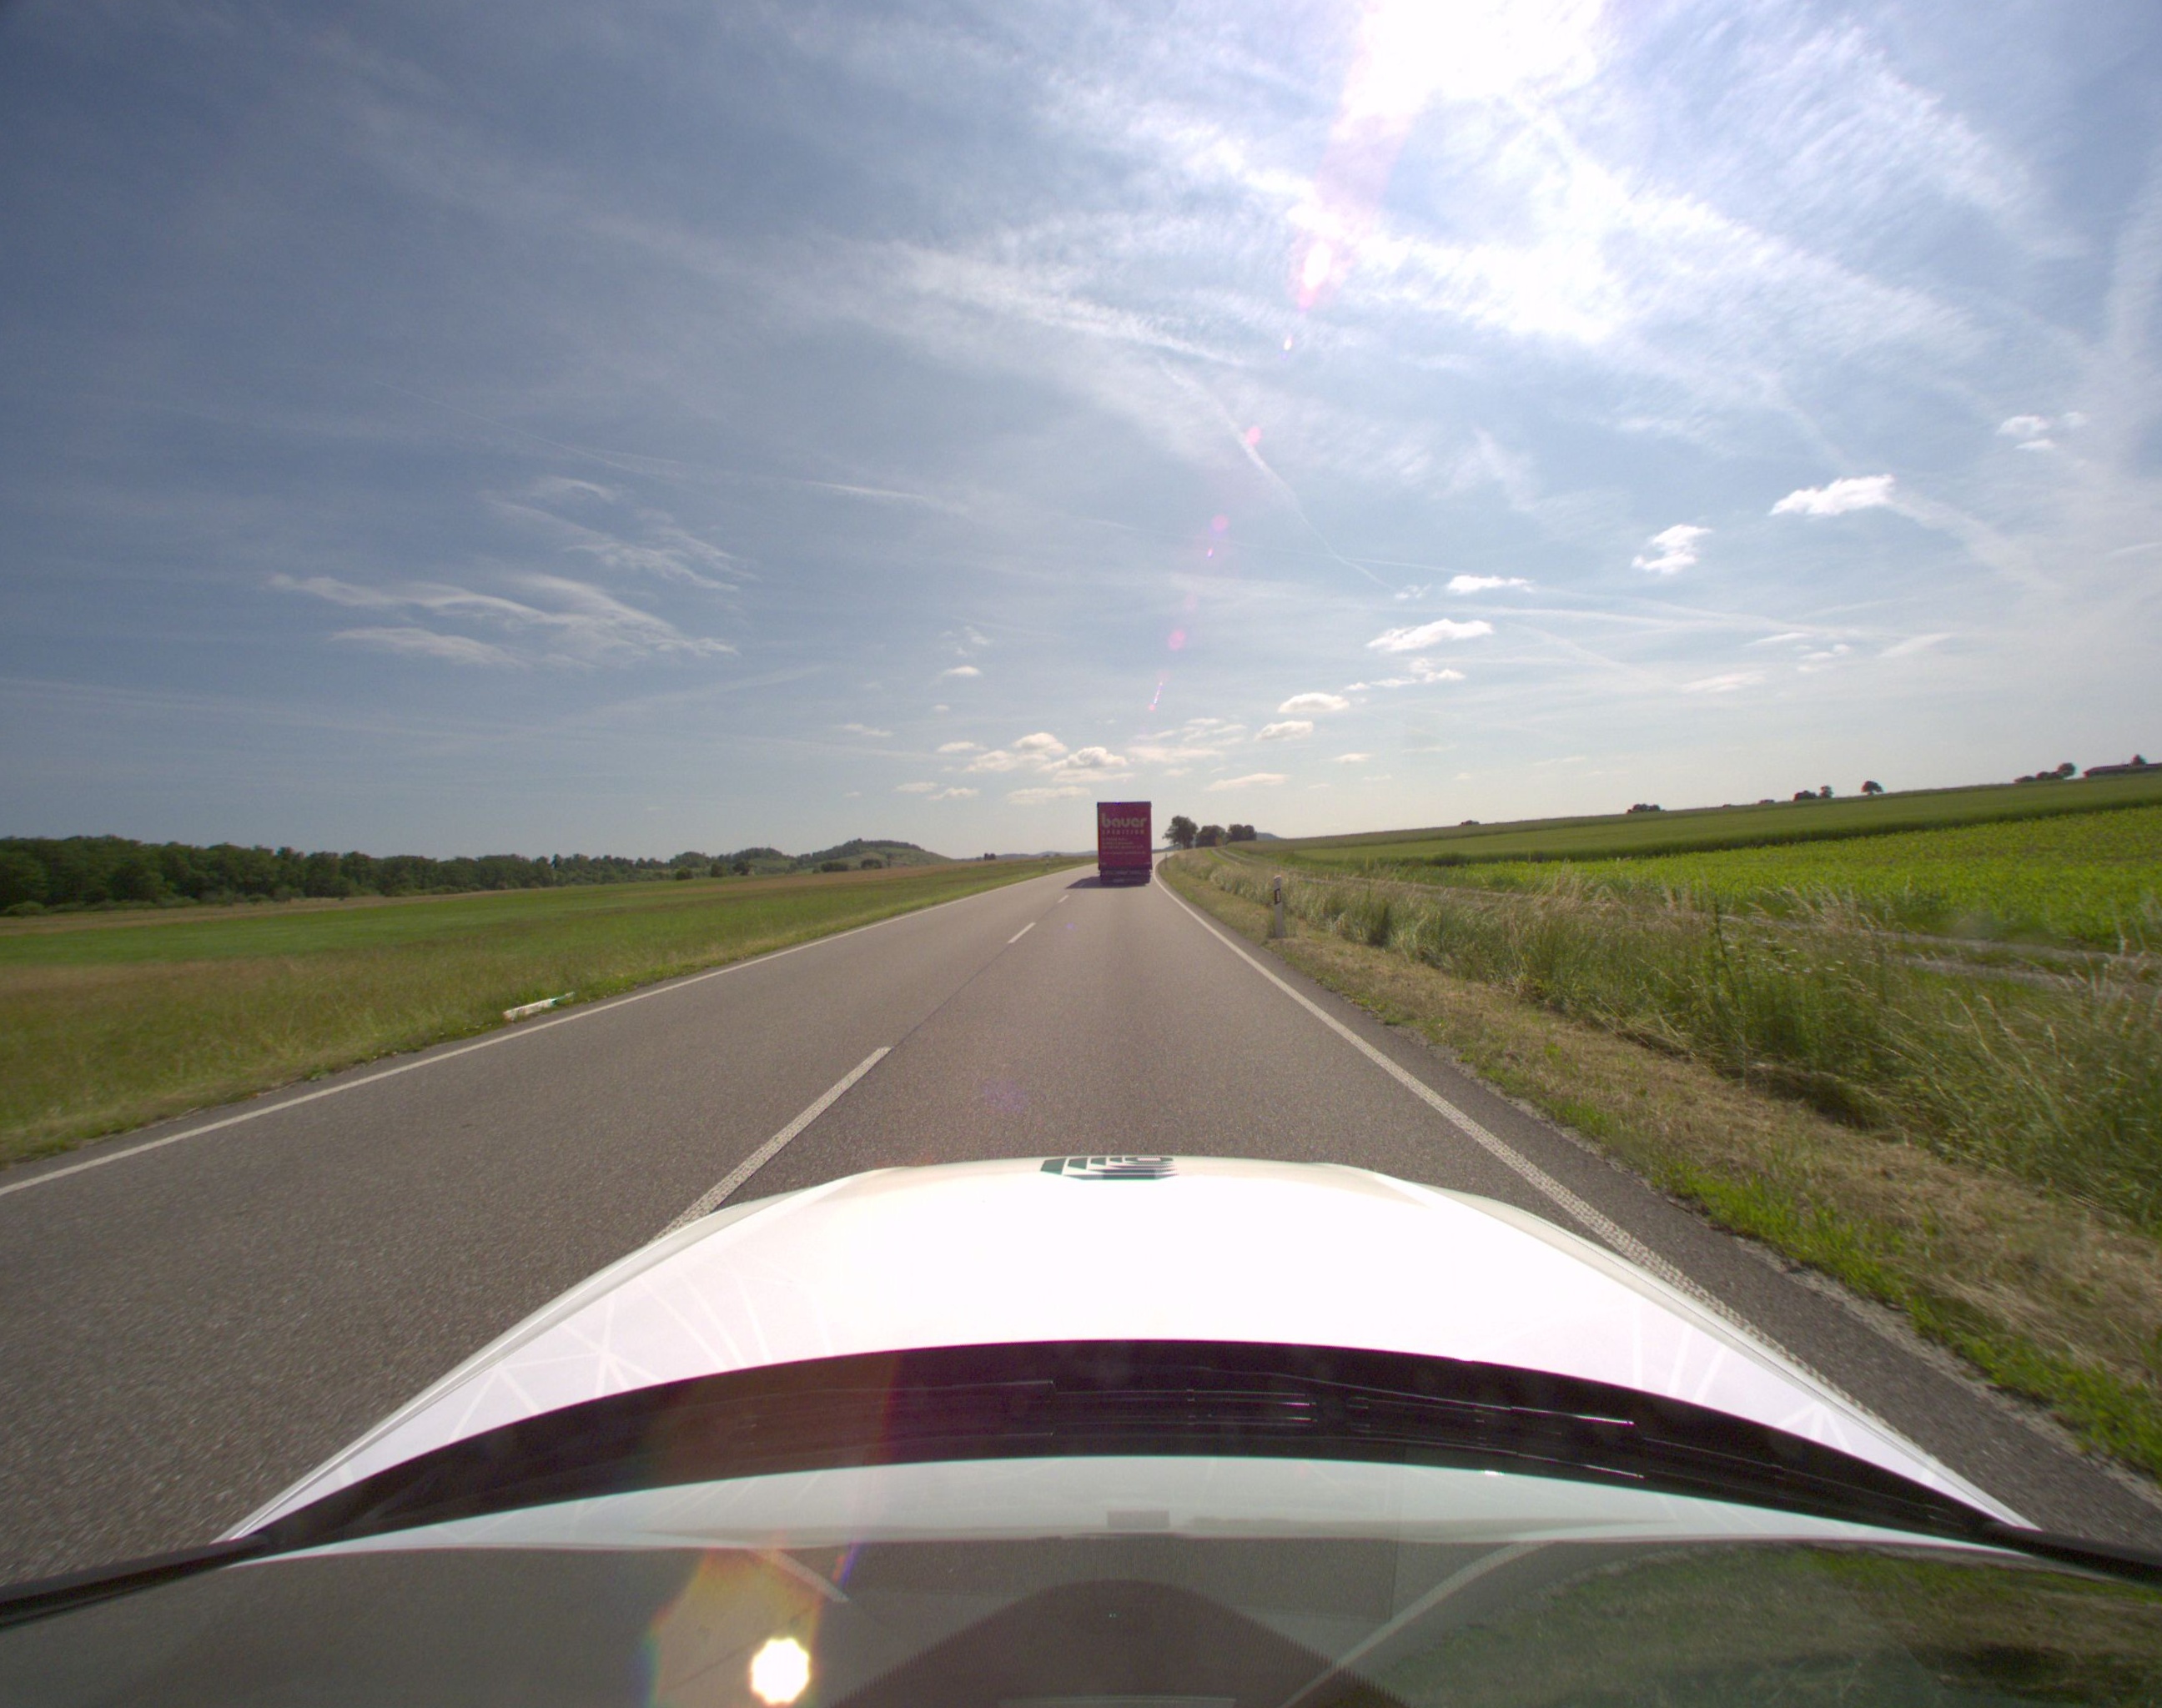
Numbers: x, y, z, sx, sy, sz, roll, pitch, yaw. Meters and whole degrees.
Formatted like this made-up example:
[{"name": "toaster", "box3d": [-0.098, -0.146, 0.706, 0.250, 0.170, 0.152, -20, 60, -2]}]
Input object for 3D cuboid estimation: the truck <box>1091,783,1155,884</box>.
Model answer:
[{"name": "truck", "box3d": [2.235, -0.956, 42.391, 2.962, 4.713, 9.374, 0, 0, 3]}]
